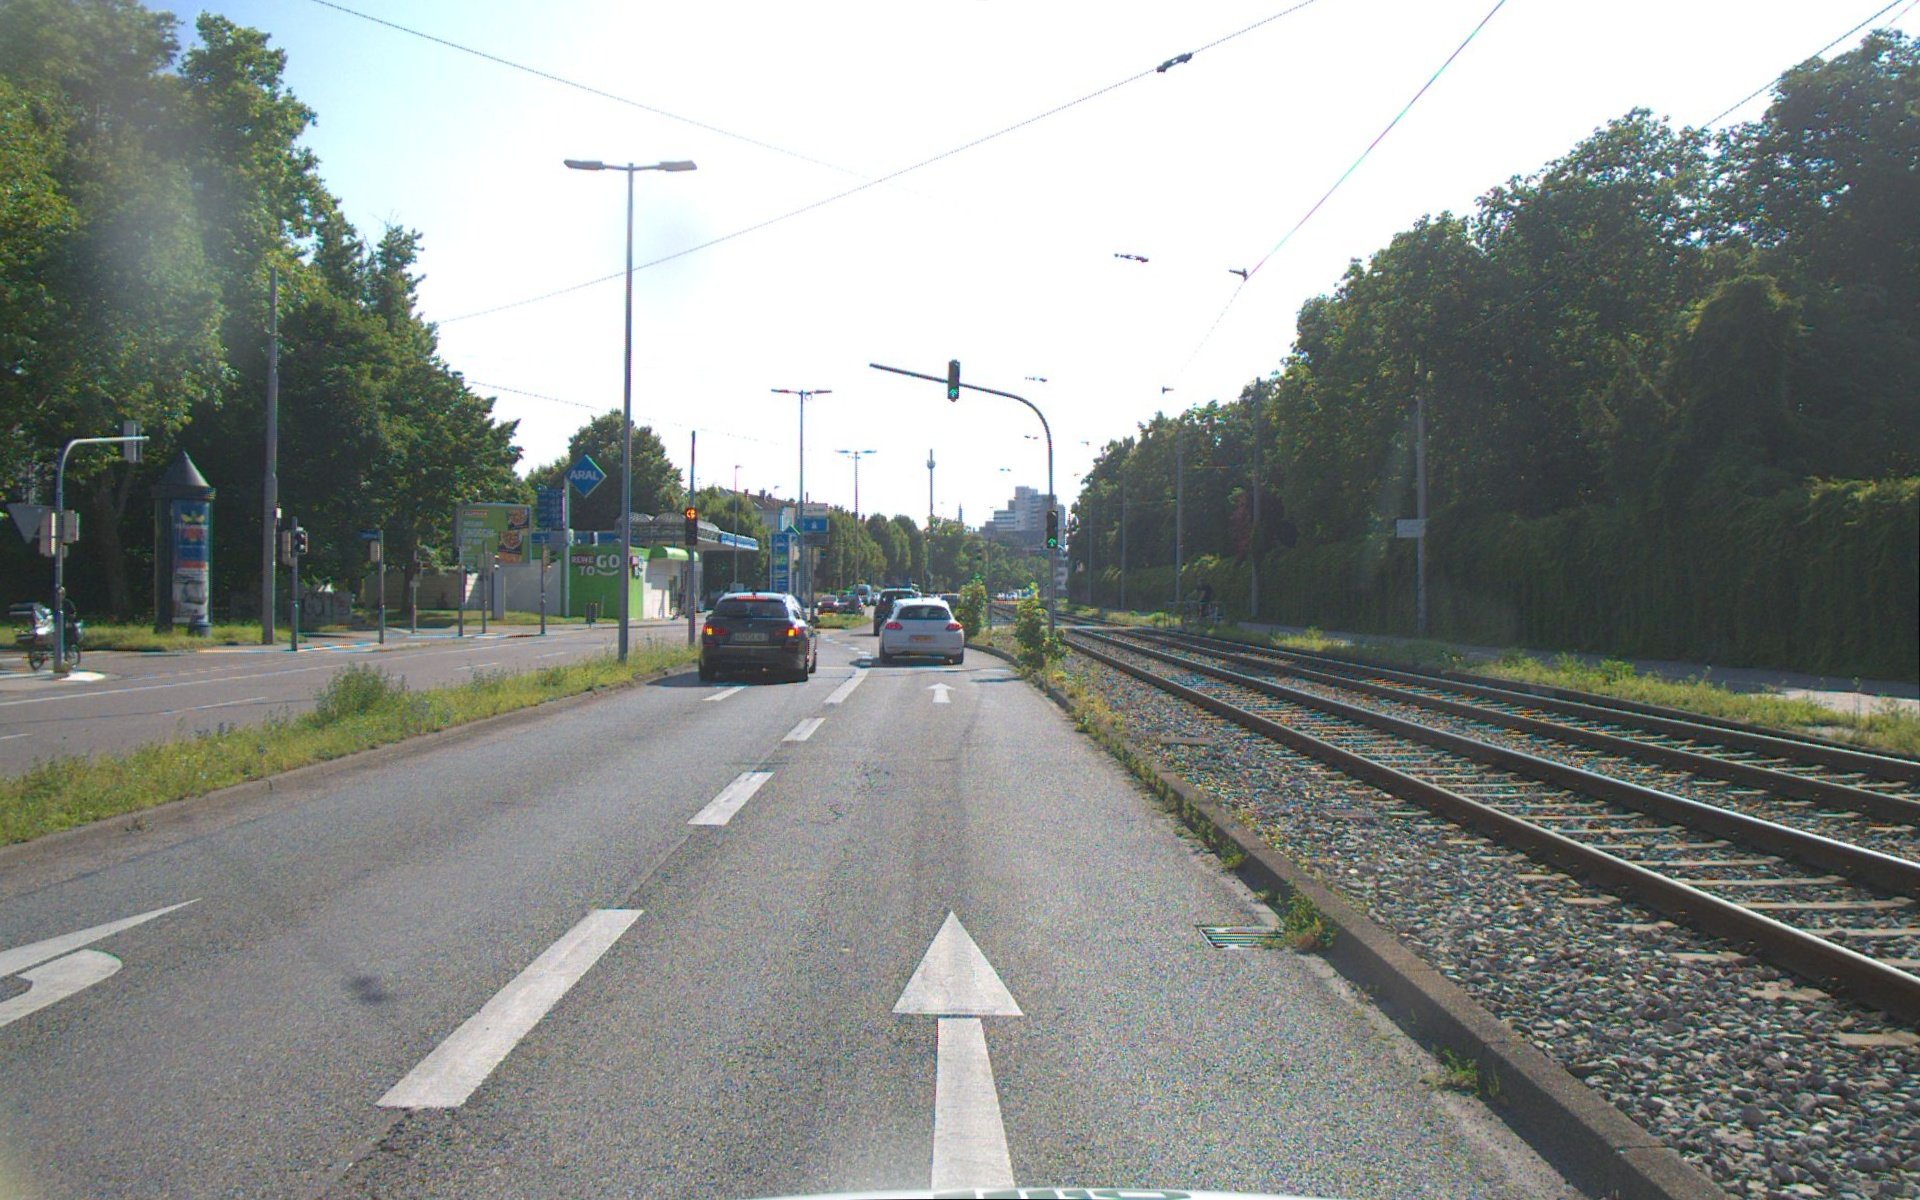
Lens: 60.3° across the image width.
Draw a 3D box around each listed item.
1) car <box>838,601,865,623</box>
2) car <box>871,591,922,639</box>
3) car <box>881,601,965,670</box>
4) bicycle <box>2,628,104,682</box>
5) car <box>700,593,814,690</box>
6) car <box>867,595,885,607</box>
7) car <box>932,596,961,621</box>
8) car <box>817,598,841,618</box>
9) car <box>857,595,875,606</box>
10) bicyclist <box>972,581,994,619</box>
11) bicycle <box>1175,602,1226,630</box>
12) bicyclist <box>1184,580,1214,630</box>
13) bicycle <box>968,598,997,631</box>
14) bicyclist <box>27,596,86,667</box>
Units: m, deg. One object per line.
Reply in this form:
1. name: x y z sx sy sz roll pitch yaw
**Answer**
1. car: -7.331 0.782 111.861 1.619 1.420 4.133 0 0 0
2. car: -2.340 0.516 60.211 1.690 1.620 3.598 2 0 -4
3. car: -0.783 0.748 36.728 1.744 1.380 3.601 2 0 0
4. bicycle: -19.250 1.148 35.167 0.648 1.068 2.581 0 0 3
5. car: -3.500 0.664 29.188 1.725 1.511 4.641 2 0 -4
6. car: -11.156 0.126 219.585 1.952 1.441 3.845 0 0 2
7. car: -0.853 0.543 106.597 1.713 1.511 3.602 2 0 1
8. car: -10.035 0.601 126.552 1.541 1.441 3.334 0 0 1
9. car: -11.817 0.065 208.216 1.952 1.441 3.845 0 0 2
10. bicyclist: 0.872 0.003 63.181 0.629 1.440 1.013 0 1 15
11. bicycle: 9.899 0.637 68.086 1.882 1.134 0.947 0 0 24
12. bicyclist: 9.852 0.201 68.089 1.012 2.028 0.947 0 0 24
13. bicycle: 0.857 0.550 63.109 0.629 1.174 1.938 -1 1 15
14. bicyclist: -19.255 0.657 35.258 0.648 1.478 1.051 0 0 3
